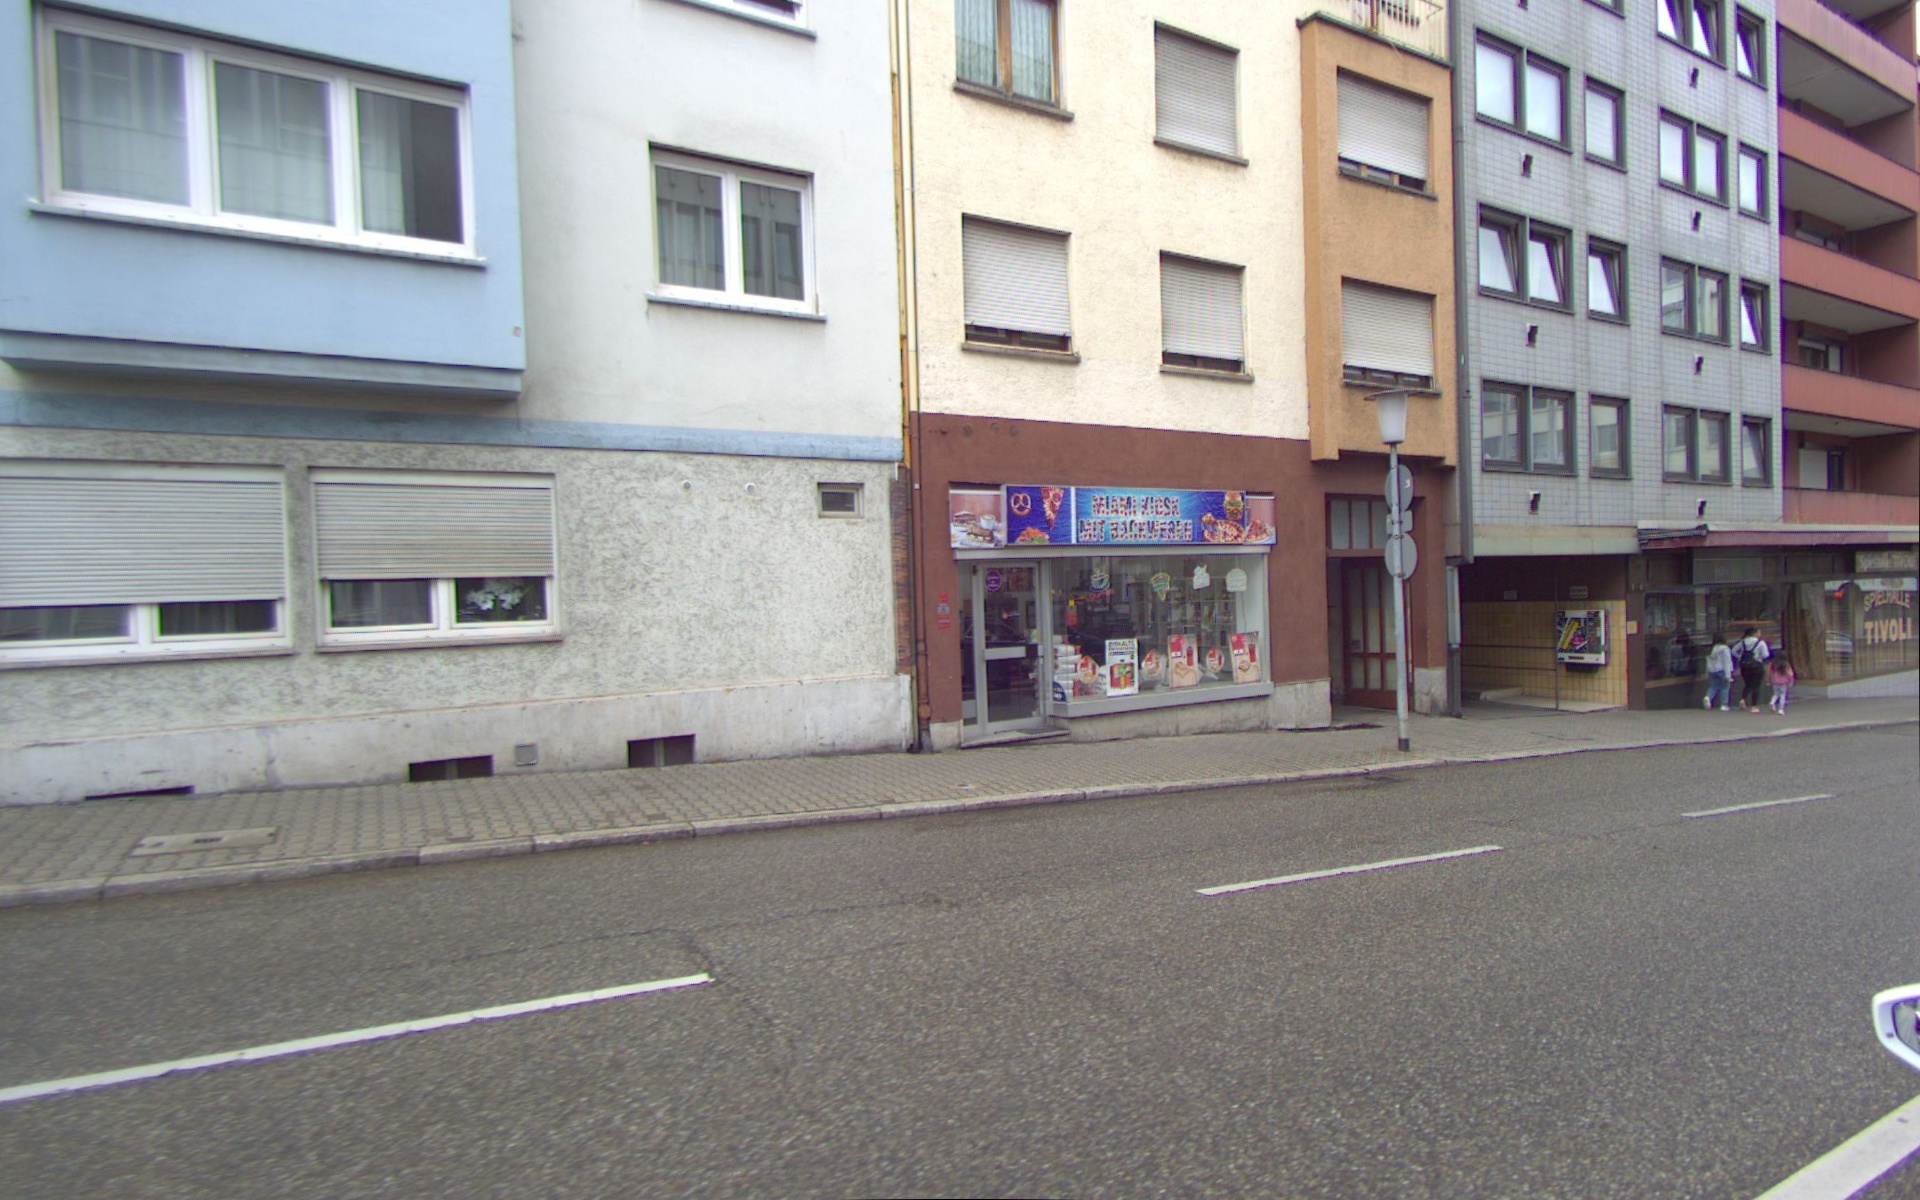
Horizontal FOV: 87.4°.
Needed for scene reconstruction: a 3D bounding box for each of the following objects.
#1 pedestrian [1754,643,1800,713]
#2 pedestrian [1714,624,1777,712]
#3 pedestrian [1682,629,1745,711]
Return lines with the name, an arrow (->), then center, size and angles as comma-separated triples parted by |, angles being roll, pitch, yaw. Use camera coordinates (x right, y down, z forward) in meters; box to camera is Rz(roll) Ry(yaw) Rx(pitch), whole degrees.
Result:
pedestrian -> 16.384, 1.555, 20.141 | 0.717, 1.341, 0.529 | 1, 1, -38
pedestrian -> 16.126, 1.371, 20.628 | 0.717, 1.712, 0.821 | 1, 1, -38
pedestrian -> 15.351, 1.413, 20.474 | 0.717, 1.581, 0.821 | 1, 1, -38
